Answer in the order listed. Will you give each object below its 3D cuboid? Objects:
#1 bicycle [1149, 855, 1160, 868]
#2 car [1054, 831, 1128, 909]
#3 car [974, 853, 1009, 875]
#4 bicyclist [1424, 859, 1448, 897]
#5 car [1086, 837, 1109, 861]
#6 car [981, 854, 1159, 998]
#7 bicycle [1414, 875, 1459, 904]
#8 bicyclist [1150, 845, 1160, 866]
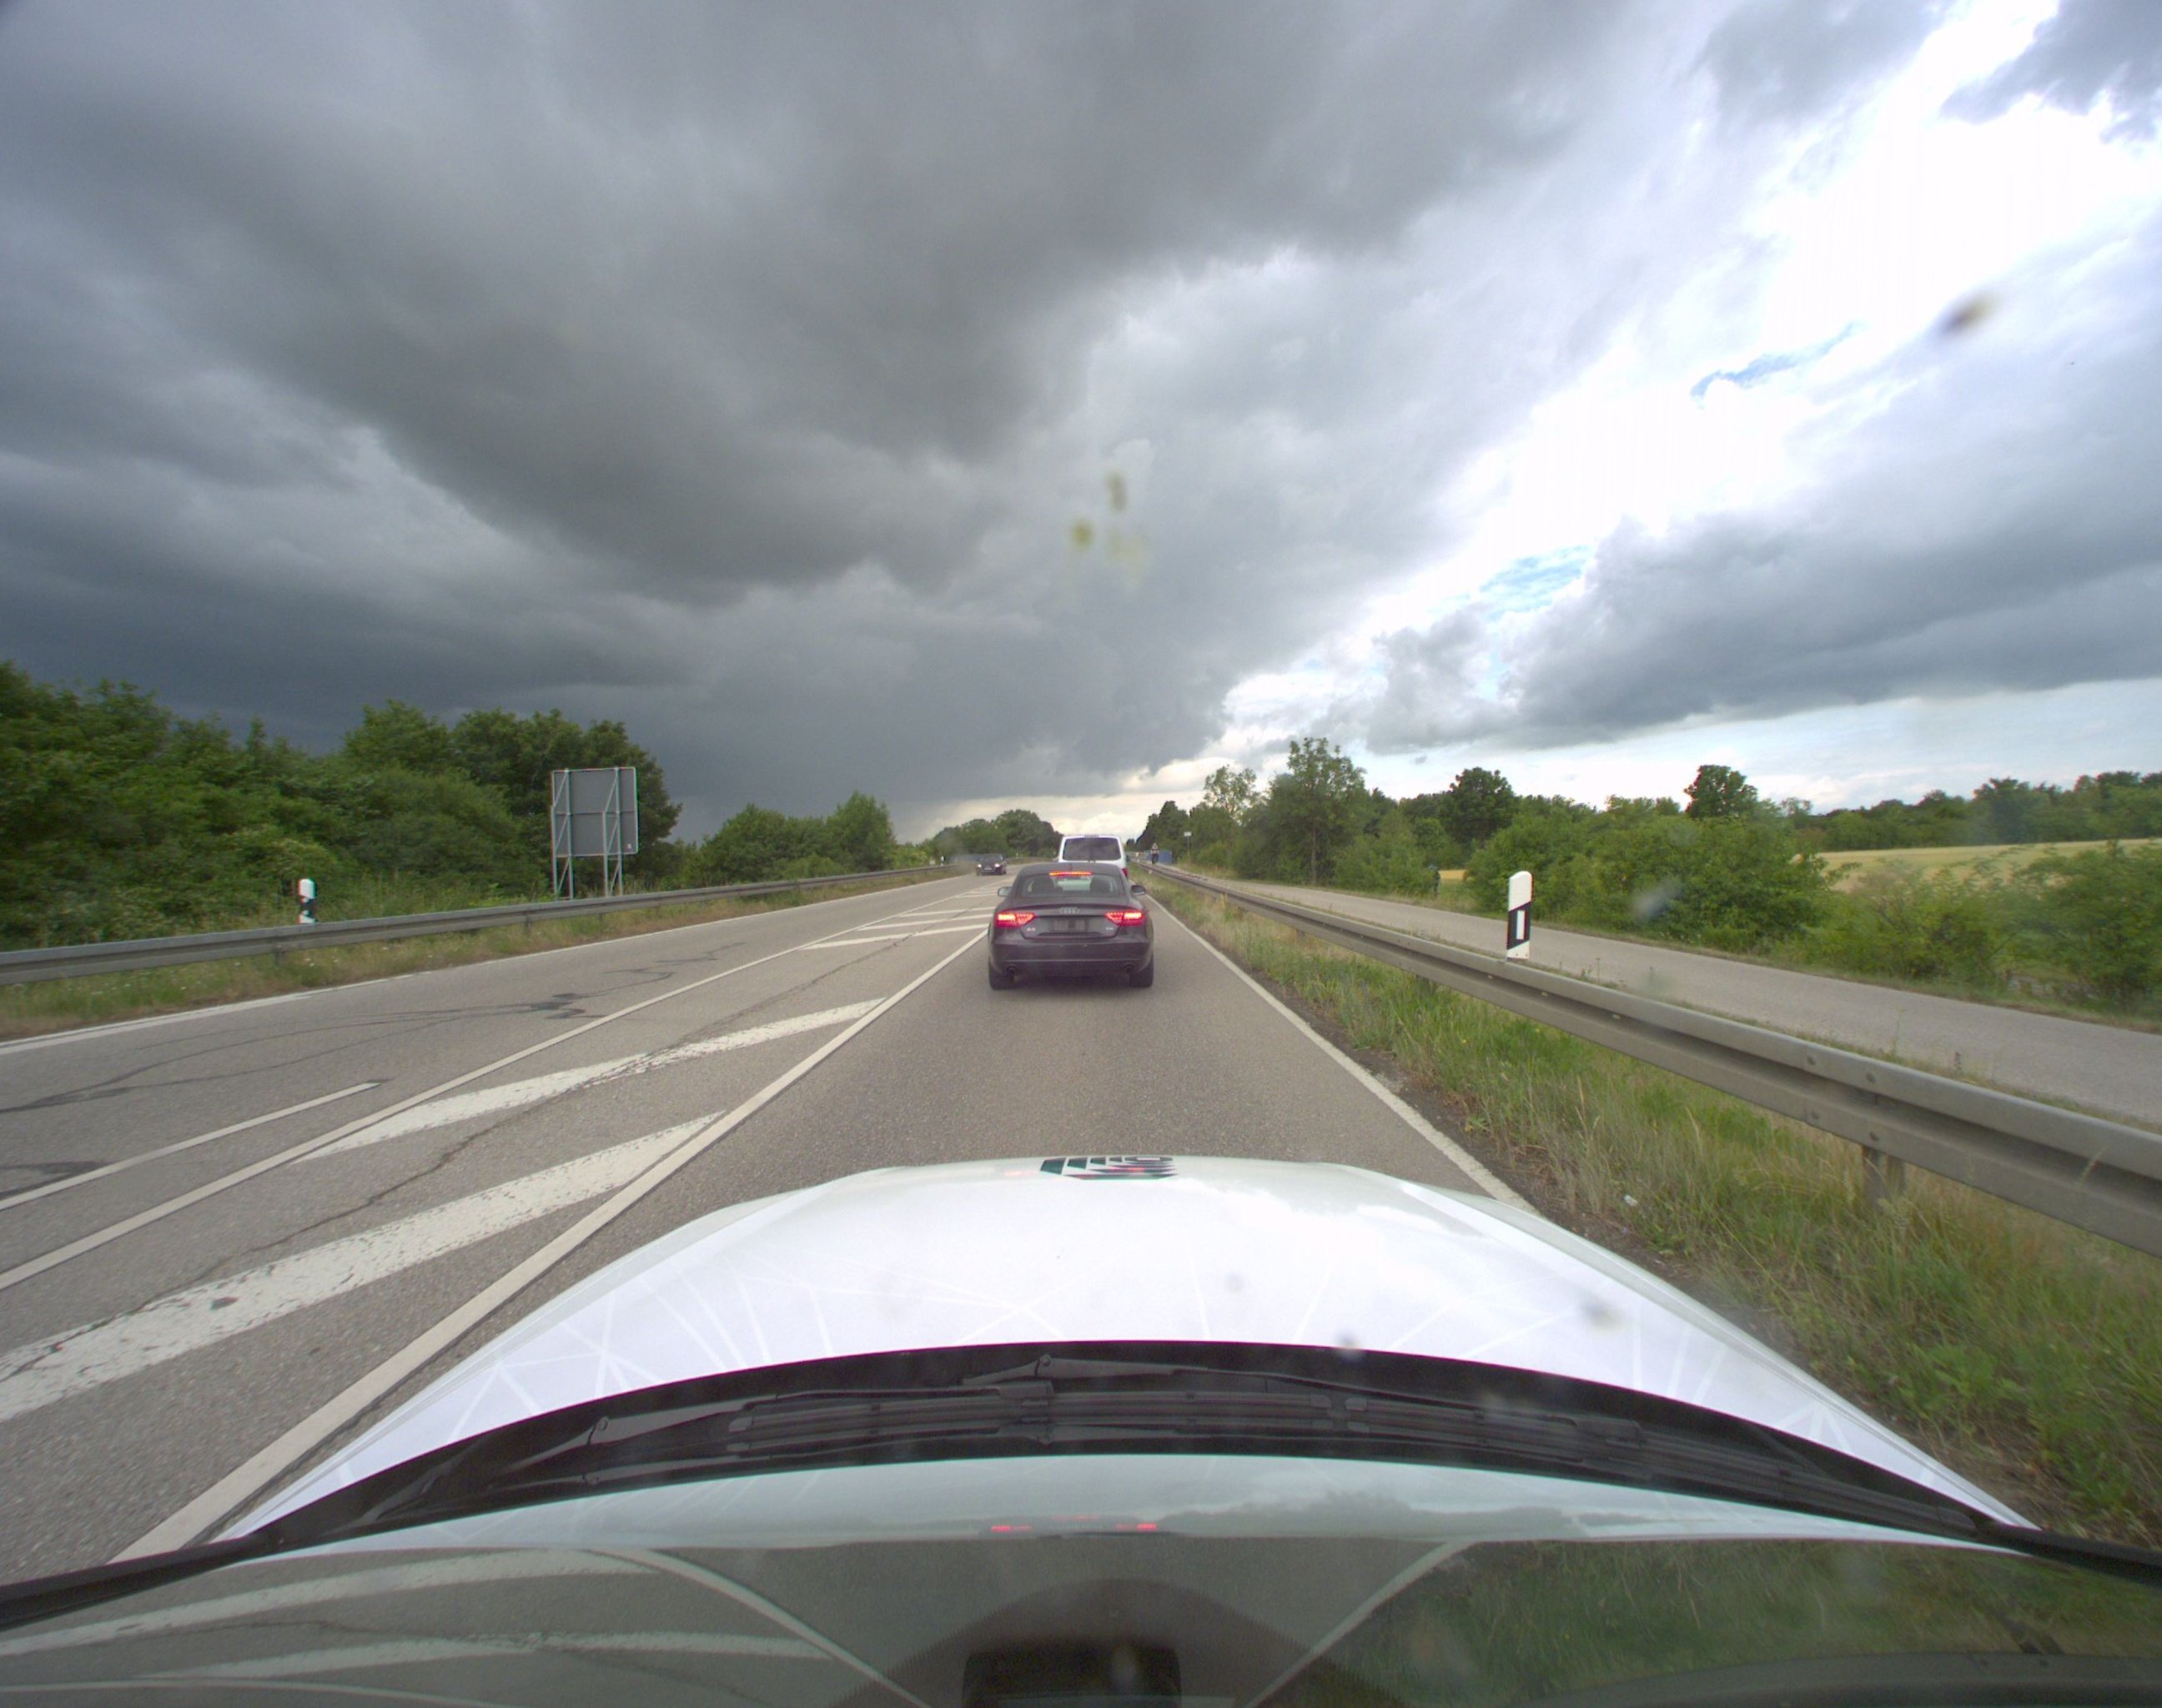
[{"bbox_3d":[5.667,0.566,62.581,0.663,0.920,1.830,-2,0,1],"label":"bicycle"},{"bbox_3d":[0.283,0.409,21.832,1.779,1.890,4.000,-1,0,1],"label":"car"},{"bbox_3d":[-6.031,0.643,55.286,1.856,1.376,4.000,-1,0,0],"label":"car"},{"bbox_3d":[14.763,0.988,33.861,0.654,1.581,0.744,0,-1,0],"label":"bicyclist"},{"bbox_3d":[1.784,-0.586,88.908,2.438,2.504,5.043,-1,0,1],"label":"car"},{"bbox_3d":[-0.075,0.732,10.156,1.779,1.424,4.000,-1,0,1],"label":"car"},{"bbox_3d":[14.766,1.446,33.897,0.653,1.138,2.830,0,-1,1],"label":"bicycle"},{"bbox_3d":[5.649,0.112,62.433,0.644,1.645,0.866,-2,0,1],"label":"bicyclist"}]
